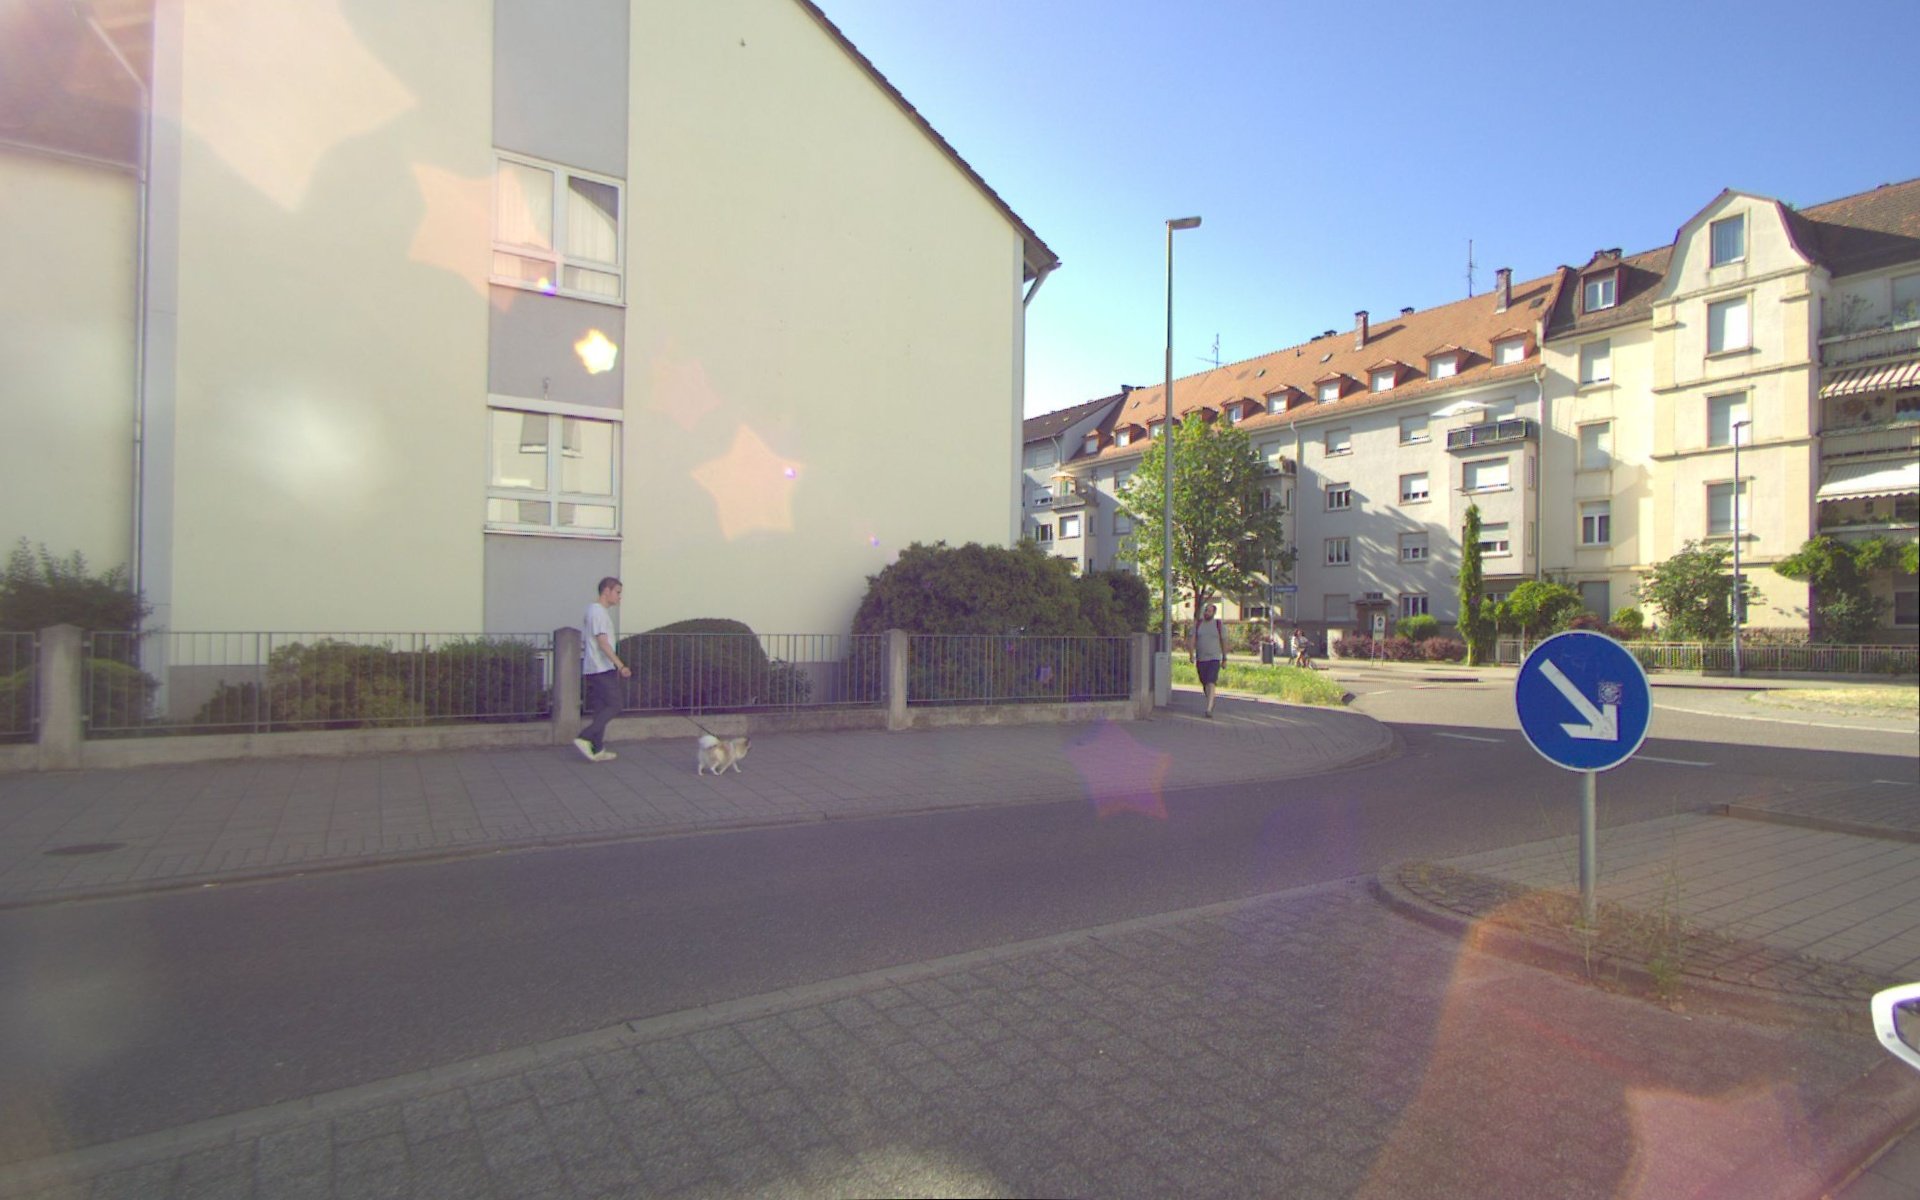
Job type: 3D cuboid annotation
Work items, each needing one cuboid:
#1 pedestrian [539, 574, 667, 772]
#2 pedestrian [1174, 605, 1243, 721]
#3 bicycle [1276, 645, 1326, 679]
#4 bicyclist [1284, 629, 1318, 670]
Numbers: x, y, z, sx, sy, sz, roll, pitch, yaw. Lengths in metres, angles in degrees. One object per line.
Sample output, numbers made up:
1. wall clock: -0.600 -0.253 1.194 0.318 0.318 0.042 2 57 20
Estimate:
1. pedestrian: -3.321 0.652 9.336 0.985 1.728 0.687 1 0 -30
2. pedestrian: 3.853 0.961 15.654 0.803 1.728 0.997 1 0 1
3. bicycle: 11.335 2.051 33.468 0.795 1.028 2.210 1 -1 -3
4. bicyclist: 11.350 1.645 33.458 0.795 1.329 0.825 1 0 -3
